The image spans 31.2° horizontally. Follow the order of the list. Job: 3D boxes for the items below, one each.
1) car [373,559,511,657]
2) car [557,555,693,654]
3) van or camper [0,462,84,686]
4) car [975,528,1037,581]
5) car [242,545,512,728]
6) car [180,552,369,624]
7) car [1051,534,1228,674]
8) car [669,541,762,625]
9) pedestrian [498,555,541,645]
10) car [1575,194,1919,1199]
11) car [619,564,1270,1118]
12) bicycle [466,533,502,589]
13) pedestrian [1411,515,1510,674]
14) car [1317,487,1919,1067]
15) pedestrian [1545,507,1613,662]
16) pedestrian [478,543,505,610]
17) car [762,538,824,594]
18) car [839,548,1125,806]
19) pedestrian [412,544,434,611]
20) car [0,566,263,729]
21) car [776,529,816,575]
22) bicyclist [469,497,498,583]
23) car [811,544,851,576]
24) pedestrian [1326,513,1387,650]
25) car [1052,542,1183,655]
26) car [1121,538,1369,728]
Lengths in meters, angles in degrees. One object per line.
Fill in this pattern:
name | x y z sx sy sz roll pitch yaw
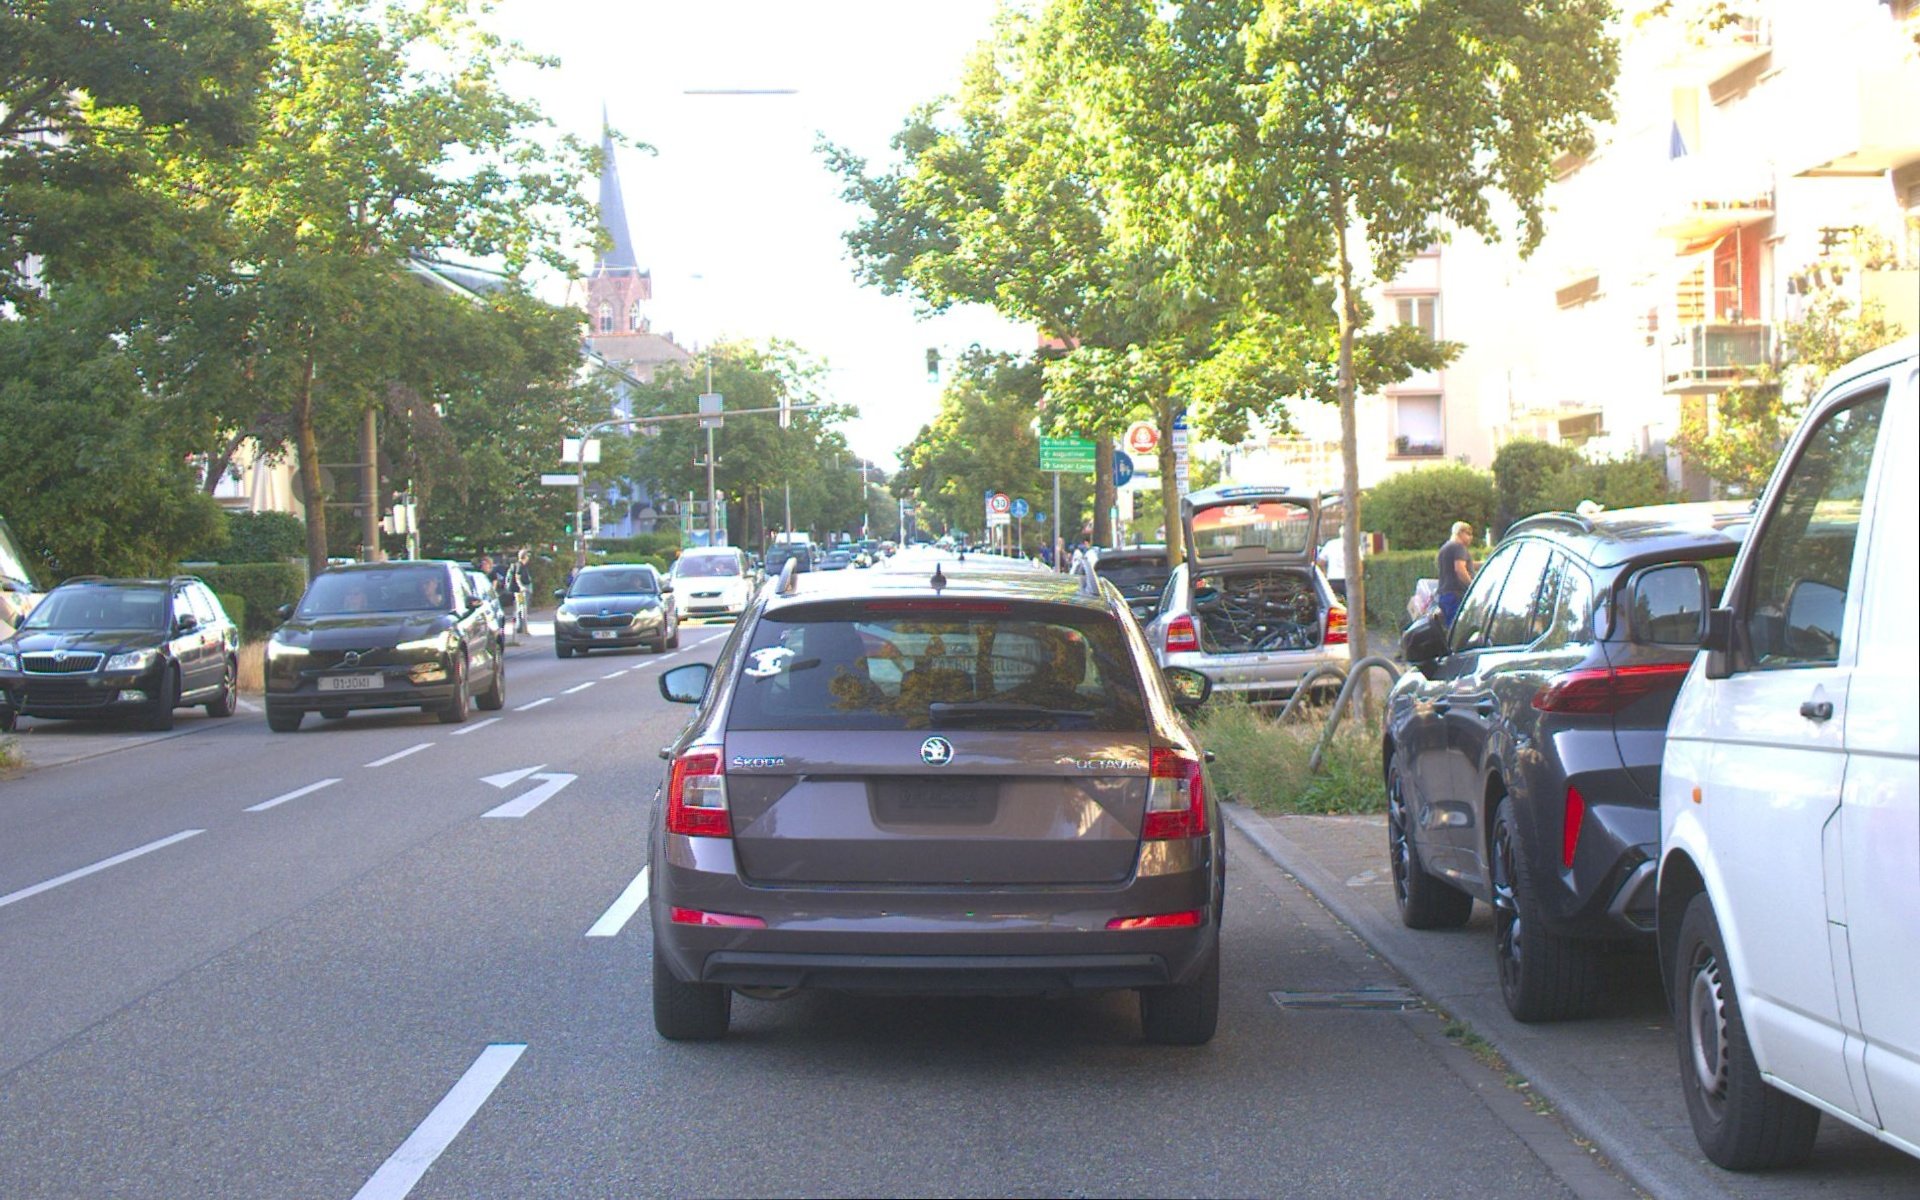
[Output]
car | -8.385 0.103 55.949 1.648 1.512 4.074 0 1 0
car | -5.509 0.041 56.992 1.760 1.447 4.534 -3 1 0
van or camper | -14.847 -0.391 43.694 6.797 2.763 2.352 1 1 -1
car | 1.585 -1.549 117.951 1.994 1.766 4.000 1 1 2
car | -5.560 0.318 33.252 1.835 1.565 4.000 -3 0 0
car | -18.261 -0.329 91.661 4.634 1.805 1.862 -1 1 -1
car | 2.182 0.017 42.746 1.856 1.576 4.014 -3 1 -1
car | -5.677 -0.421 80.205 1.805 1.798 4.746 -3 1 -1
pedestrian | -9.851 -0.010 76.910 0.780 1.981 0.821 -2 1 0
car | 2.667 0.295 6.718 1.903 2.096 4.641 -1 1 -2
car | -0.075 0.634 11.536 1.773 1.484 4.311 0 1 -1
bicycle | -9.193 -0.755 66.431 0.486 1.060 1.534 -1 1 -1
pedestrian | 5.225 -0.060 35.886 0.757 1.634 0.694 -1 1 36
car | 2.492 0.460 12.121 1.856 1.598 4.312 -4 1 -1
pedestrian | 6.593 -0.168 36.602 0.474 1.634 0.536 -2 1 -19
pedestrian | -12.684 -0.649 93.145 0.616 1.791 0.504 -2 1 0
car | -6.105 -1.271 125.910 1.993 1.902 4.964 -3 1 -1
car | 0.144 0.444 23.091 1.737 1.565 4.000 1 1 0
pedestrian | -14.459 -0.610 92.542 0.449 1.791 0.504 -2 1 0
car | -8.375 0.422 34.481 1.867 1.489 4.517 0 1 0
car | -9.108 -2.680 190.712 1.993 2.469 4.000 -1 1 0
bicyclist | -9.203 -1.159 66.403 0.468 1.657 0.552 -1 1 -1
car | -6.474 -2.027 173.050 1.830 1.574 4.000 -2 1 0
pedestrian | 5.163 -0.247 44.771 0.662 1.743 0.772 -3 1 3
car | 2.199 -0.051 48.557 1.703 1.445 4.013 -3 1 2
car | 2.459 0.239 30.549 1.708 1.475 4.269 -3 1 -1
